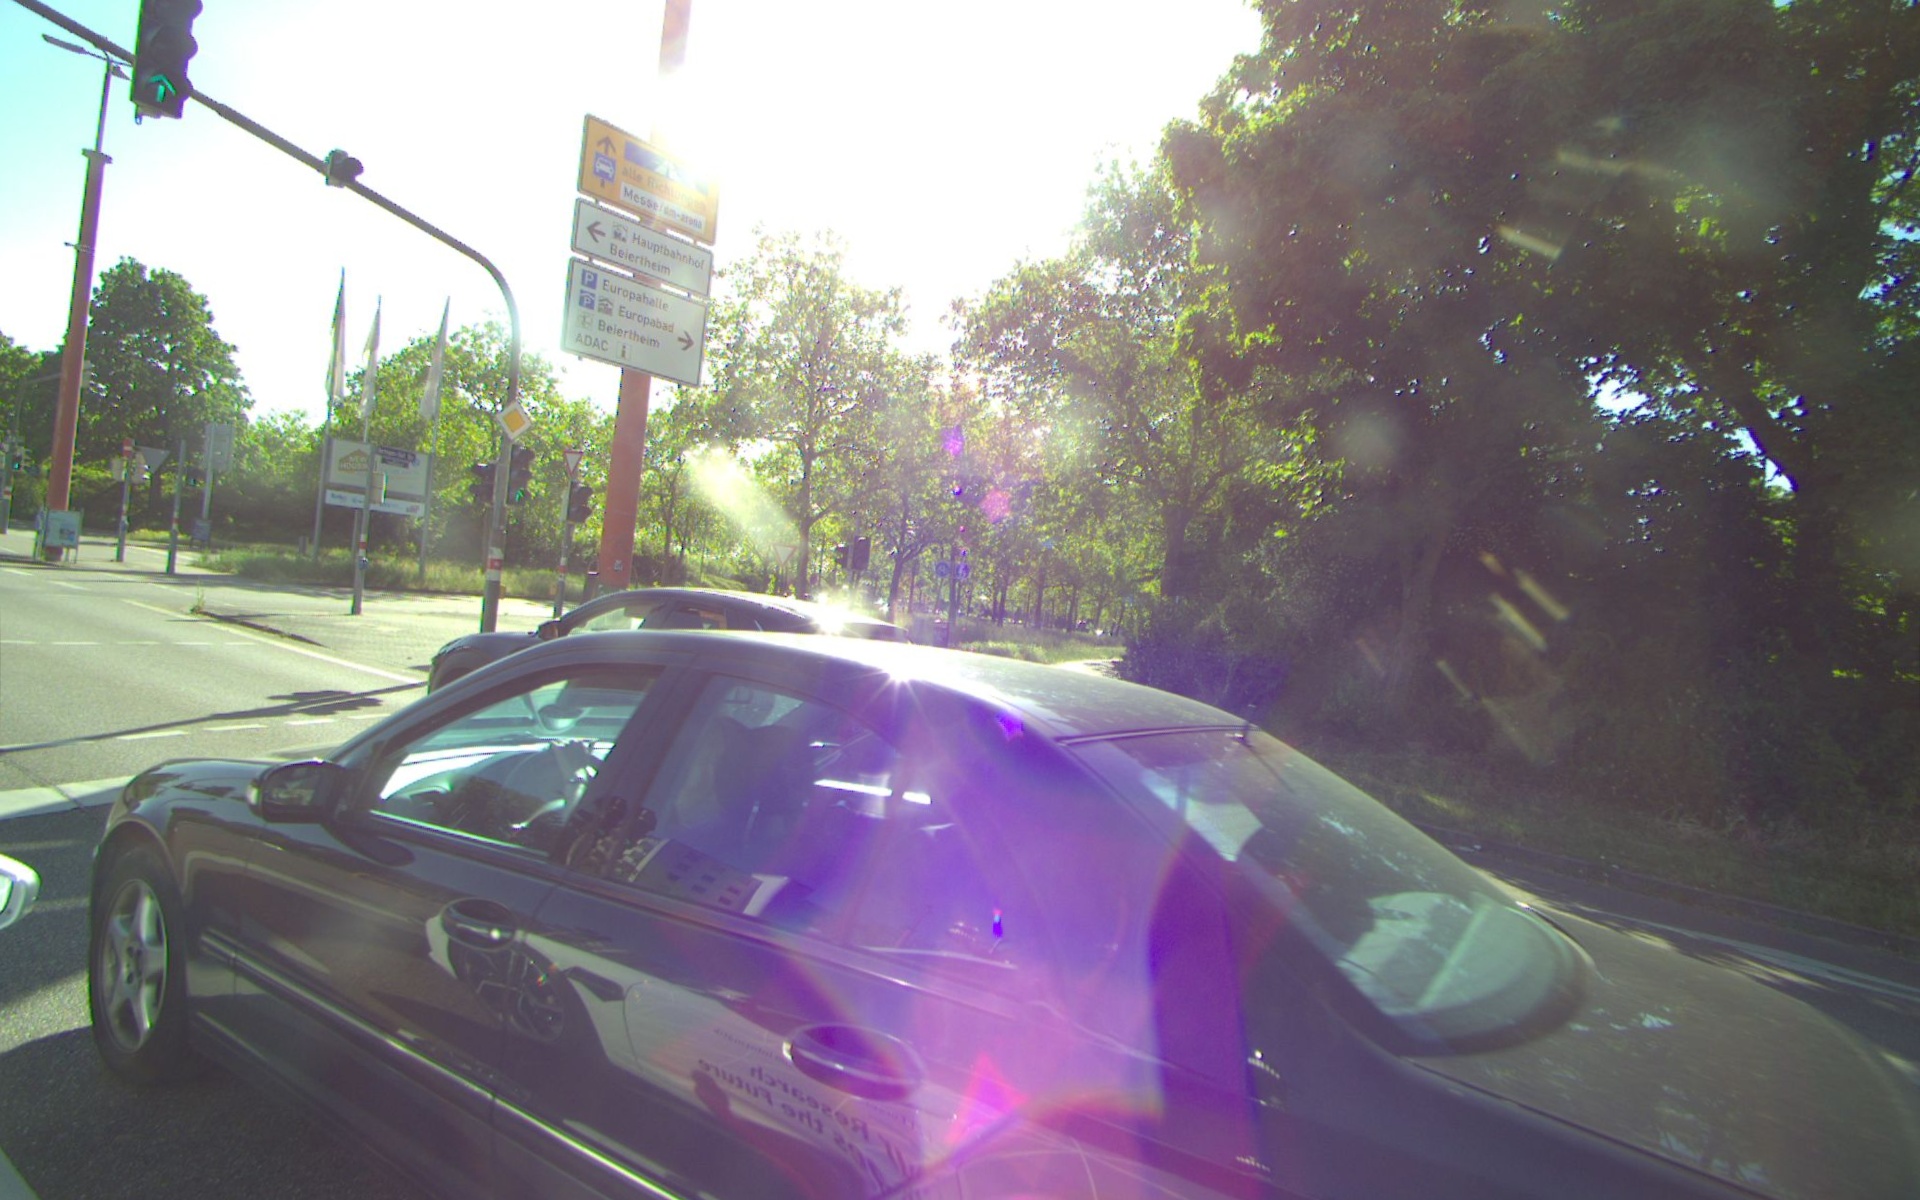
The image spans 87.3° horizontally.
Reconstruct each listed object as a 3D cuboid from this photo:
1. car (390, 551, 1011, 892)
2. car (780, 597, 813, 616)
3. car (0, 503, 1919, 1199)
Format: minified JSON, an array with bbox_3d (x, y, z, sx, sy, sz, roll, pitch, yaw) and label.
[{"bbox_3d":[-1.949,0.670,7.124,4.157,1.525,1.771,6,-2,33],"label":"car"},{"bbox_3d":[-16.876,0.661,103.945,1.831,1.534,4.143,7,-2,13],"label":"car"},{"bbox_3d":[-0.495,0.731,2.598,4.126,1.472,1.716,7,0,30],"label":"car"}]
